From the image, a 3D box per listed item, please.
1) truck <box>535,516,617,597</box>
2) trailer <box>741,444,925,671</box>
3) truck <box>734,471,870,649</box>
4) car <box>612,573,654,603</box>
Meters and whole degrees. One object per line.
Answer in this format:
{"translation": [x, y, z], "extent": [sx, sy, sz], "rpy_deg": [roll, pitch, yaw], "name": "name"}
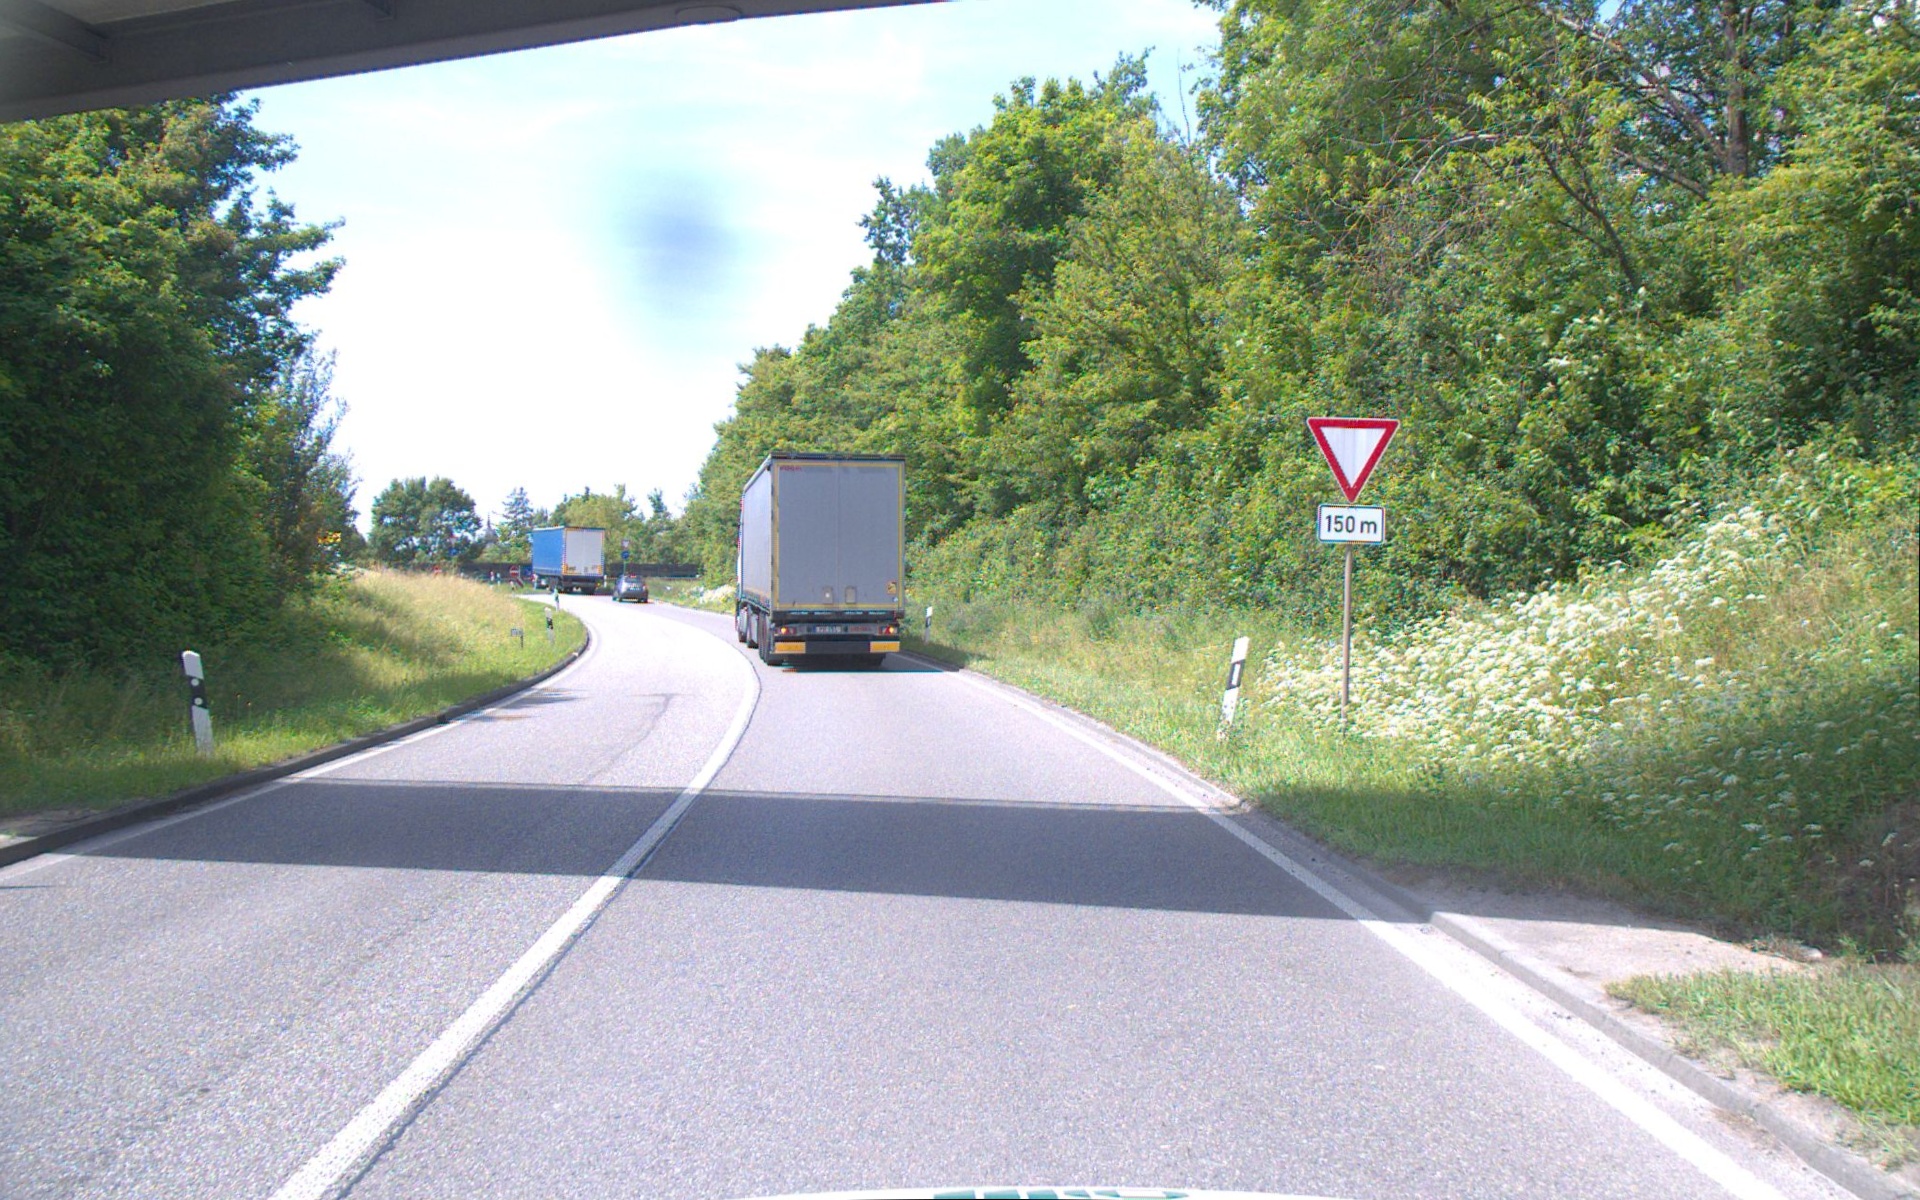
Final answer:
{"translation": [-25.180, -2.745, 107.727], "extent": [3.769, 4.827, 16.120], "rpy_deg": [0, 1, -18], "name": "truck"}
{"translation": [-3.174, -0.811, 36.795], "extent": [2.971, 4.105, 13.323], "rpy_deg": [1, 0, -9], "name": "trailer"}
{"translation": [-4.325, -0.974, 43.771], "extent": [3.095, 4.298, 7.107], "rpy_deg": [1, 0, -9], "name": "truck"}
{"translation": [-18.087, -0.678, 91.353], "extent": [1.642, 1.512, 3.976], "rpy_deg": [0, 1, -20], "name": "car"}
